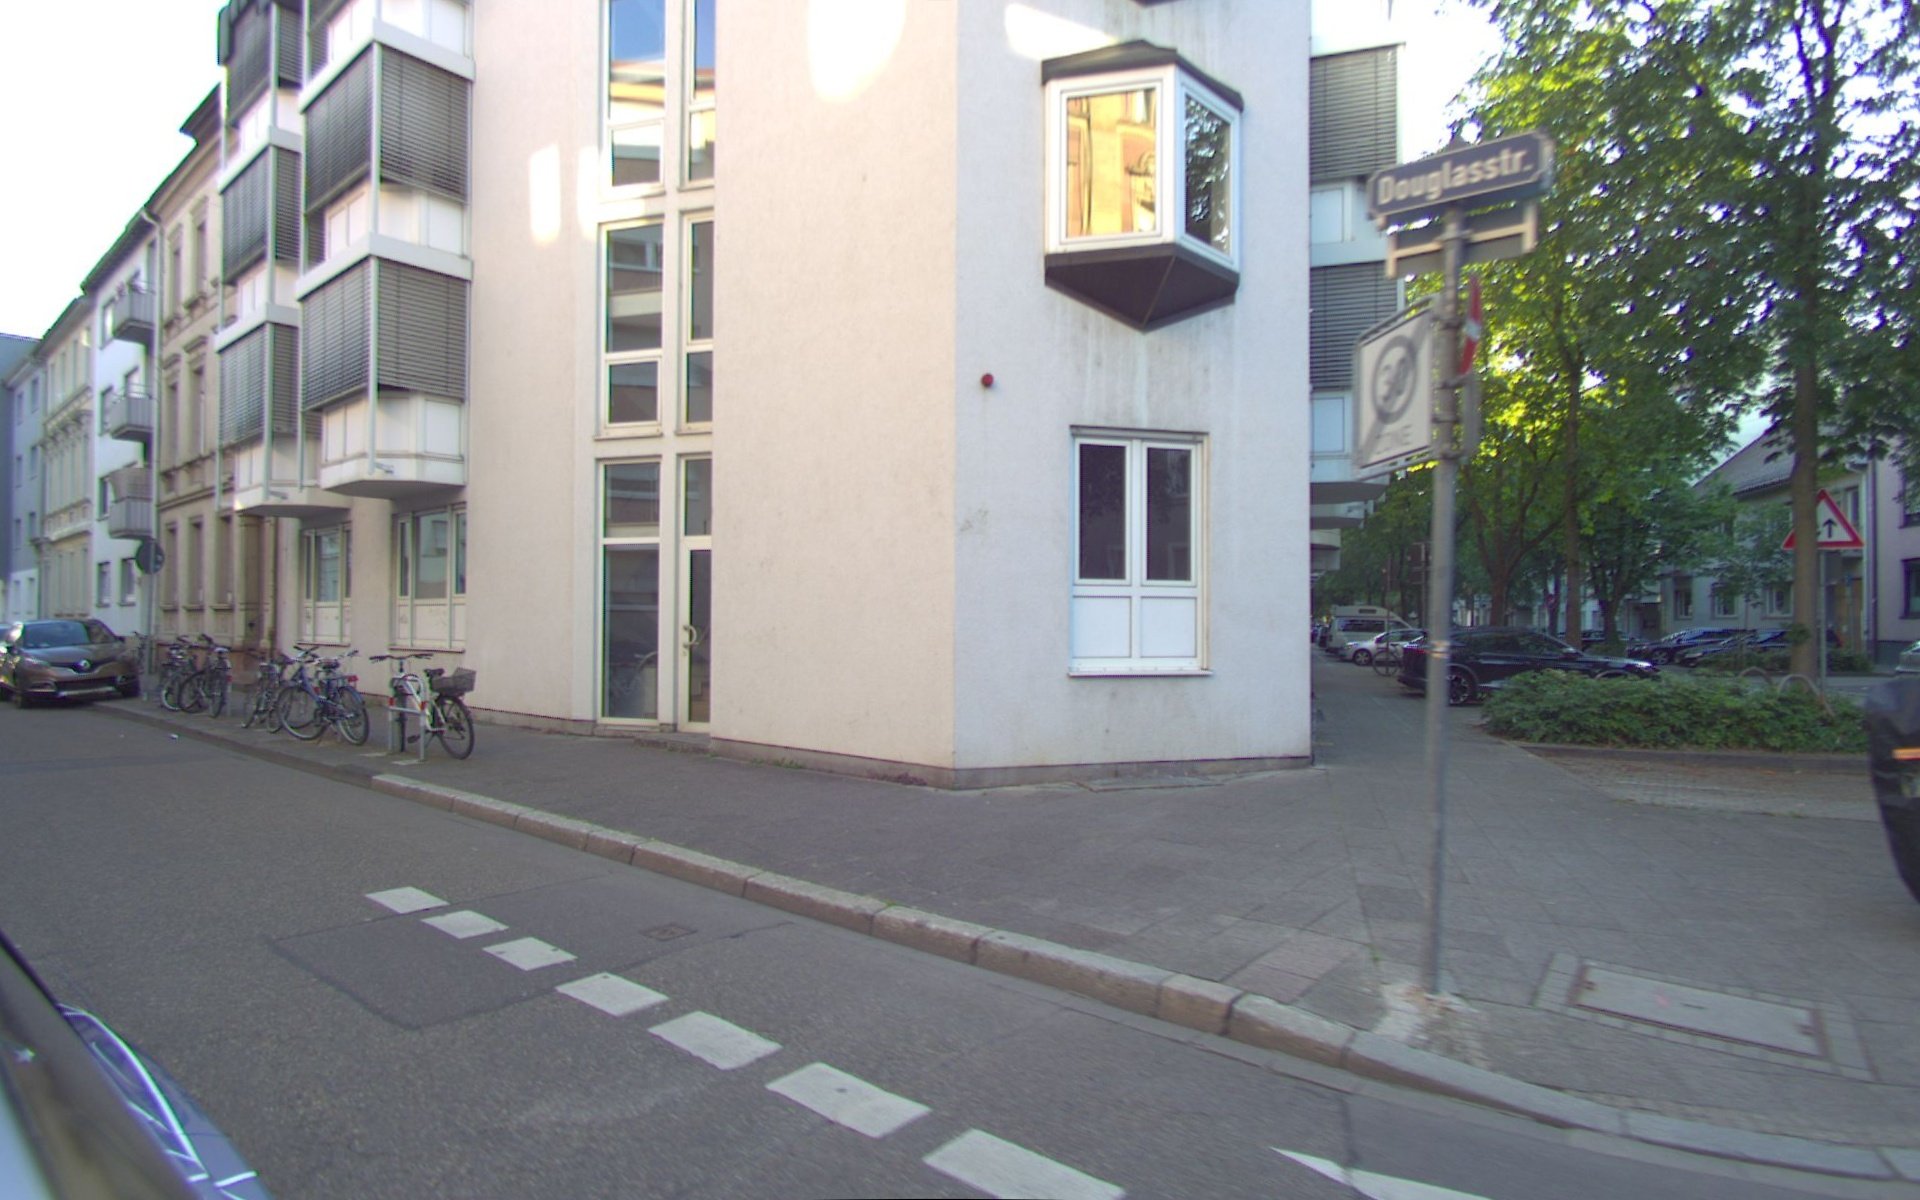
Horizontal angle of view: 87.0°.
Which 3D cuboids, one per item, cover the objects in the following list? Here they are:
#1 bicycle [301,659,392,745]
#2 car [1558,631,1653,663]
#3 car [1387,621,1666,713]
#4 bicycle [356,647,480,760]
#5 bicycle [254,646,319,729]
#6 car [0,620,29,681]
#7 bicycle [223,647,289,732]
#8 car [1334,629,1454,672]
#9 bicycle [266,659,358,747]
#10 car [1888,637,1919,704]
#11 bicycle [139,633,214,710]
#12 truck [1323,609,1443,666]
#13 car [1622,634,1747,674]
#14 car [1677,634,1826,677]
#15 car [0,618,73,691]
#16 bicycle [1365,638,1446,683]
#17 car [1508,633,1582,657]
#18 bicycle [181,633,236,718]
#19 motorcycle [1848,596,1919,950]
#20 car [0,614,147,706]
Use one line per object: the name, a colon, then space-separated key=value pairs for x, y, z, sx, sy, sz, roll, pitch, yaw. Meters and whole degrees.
bicycle: x=-7.430 y=1.202 z=12.224 sx=1.810 sy=0.939 sz=0.304 roll=-2 pitch=-2 yaw=38
car: x=31.780 y=2.290 z=49.920 sx=3.637 sy=1.548 sz=1.557 roll=0 pitch=-2 yaw=17
car: x=10.593 y=1.213 z=19.301 sx=4.336 sy=1.520 sz=1.823 roll=1 pitch=-2 yaw=19
bicycle: x=-5.820 y=1.073 z=10.836 sx=1.809 sy=1.111 sz=0.397 roll=-1 pitch=-2 yaw=35
bicycle: x=-9.232 y=1.167 z=13.848 sx=1.812 sy=1.050 sz=0.303 roll=-2 pitch=-2 yaw=42
car: x=-26.353 y=1.334 z=26.943 sx=4.491 sy=1.551 sz=1.772 roll=-1 pitch=-2 yaw=41
bicycle: x=-9.444 y=1.167 z=13.552 sx=1.812 sy=1.050 sz=0.303 roll=-2 pitch=-2 yaw=42
car: x=16.712 y=1.932 z=39.156 sx=4.112 sy=1.483 sz=1.630 roll=1 pitch=-2 yaw=19
bicycle: x=-7.648 y=1.185 z=11.920 sx=1.810 sy=0.939 sz=0.304 roll=-1 pitch=-2 yaw=37
car: x=23.079 y=1.544 z=22.179 sx=3.637 sy=1.490 sz=1.557 roll=-1 pitch=-2 yaw=17
bicycle: x=-13.080 y=1.148 z=16.873 sx=2.264 sy=1.196 sz=0.589 roll=-2 pitch=-2 yaw=42
truck: x=19.473 y=1.684 z=46.859 sx=4.978 sy=2.459 sz=1.903 roll=1 pitch=-1 yaw=20
car: x=29.388 y=2.185 z=41.186 sx=3.771 sy=1.541 sz=1.557 roll=-1 pitch=-2 yaw=17
car: x=26.998 y=1.891 z=34.651 sx=3.637 sy=1.403 sz=1.557 roll=-1 pitch=-2 yaw=17
car: x=-21.911 y=1.194 z=23.103 sx=4.429 sy=1.551 sz=1.773 roll=-1 pitch=-2 yaw=39
bicycle: x=12.304 y=1.667 z=27.986 sx=1.953 sy=1.208 sz=0.501 roll=0 pitch=-2 yaw=8
car: x=35.893 y=2.749 z=62.226 sx=3.637 sy=1.403 sz=1.557 roll=0 pitch=-2 yaw=17
bicycle: x=-11.474 y=1.116 z=15.438 sx=1.812 sy=1.232 sz=0.303 roll=-2 pitch=-2 yaw=42
motorcycle: x=5.330 y=0.773 z=4.512 sx=2.131 sy=1.567 sz=0.669 roll=0 pitch=-2 yaw=-1
car: x=-17.251 y=1.089 z=19.409 sx=4.066 sy=1.588 sz=1.773 roll=-1 pitch=-2 yaw=39
